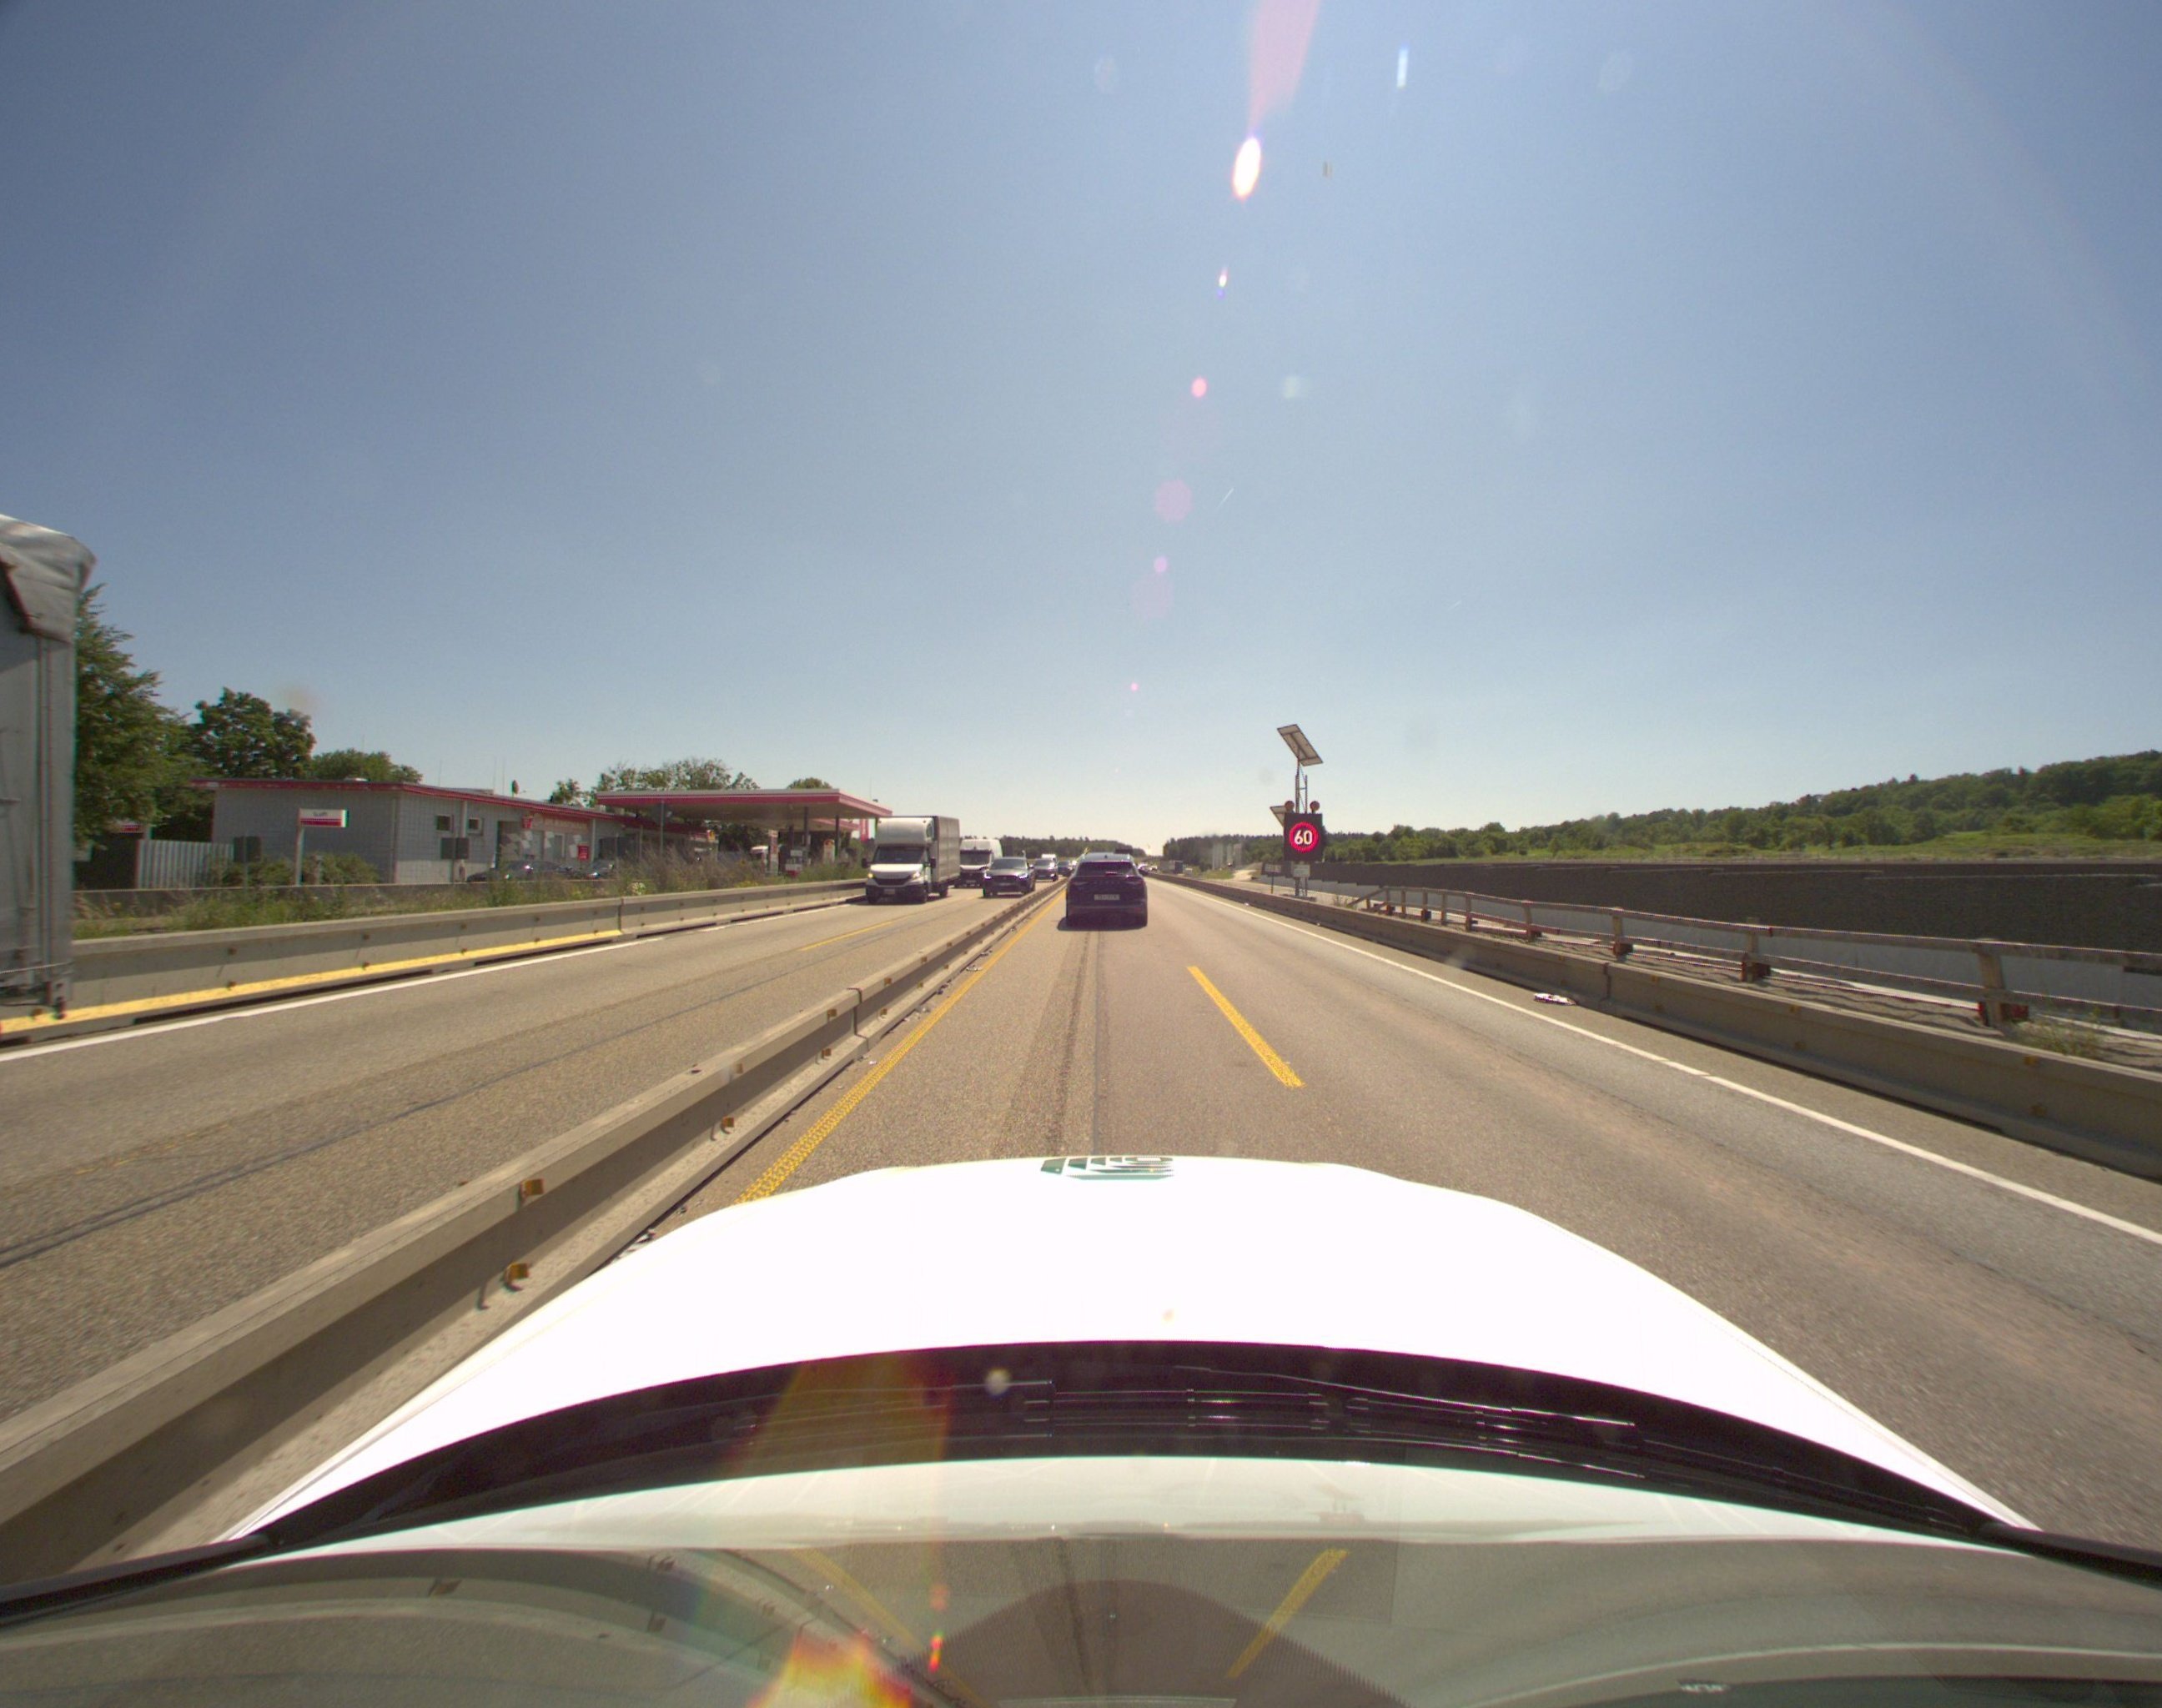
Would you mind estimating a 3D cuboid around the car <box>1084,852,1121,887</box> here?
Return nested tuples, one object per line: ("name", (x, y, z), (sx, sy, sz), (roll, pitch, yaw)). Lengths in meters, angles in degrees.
("car", (1.194, 0.858, 46.366), (1.987, 1.844, 3.999), (2, -1, 0))

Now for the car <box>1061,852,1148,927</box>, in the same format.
("car", (0.572, 0.761, 19.271), (1.835, 1.582, 4.002), (0, 0, 2))

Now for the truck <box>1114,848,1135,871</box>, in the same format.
("truck", (5.552, 0.696, 105.555), (2.662, 2.945, 5.623), (0, 0, 2))

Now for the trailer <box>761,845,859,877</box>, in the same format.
("trailer", (-36.002, 0.987, 109.085), (3.120, 4.111, 14.248), (-1, -1, 28))

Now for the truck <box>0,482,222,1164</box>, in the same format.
("truck", (-6.617, -0.156, 1.193), (2.381, 3.384, 7.716), (0, 0, 1))

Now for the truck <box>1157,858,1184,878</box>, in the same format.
("truck", (21.776, 3.458, 197.438), (3.446, 4.220, 10.429), (5, -1, 22))

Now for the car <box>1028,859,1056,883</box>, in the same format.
("car", (-2.727, 1.144, 57.535), (1.934, 1.611, 3.997), (0, 0, -2))

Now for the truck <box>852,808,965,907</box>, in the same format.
("truck", (-6.345, 0.117, 31.304), (2.486, 3.292, 8.118), (0, 0, 1))

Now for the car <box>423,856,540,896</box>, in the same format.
("car", (-24.283, 0.845, 33.180), (1.640, 1.355, 4.001), (4, 1, 1))

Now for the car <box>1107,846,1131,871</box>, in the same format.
("car", (6.859, 0.817, 145.800), (3.418, 4.101, 9.214), (4, -1, 7))

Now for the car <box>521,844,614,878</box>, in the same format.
("car", (-26.664, 0.377, 42.517), (1.745, 1.411, 4.318), (10, 0, 3))

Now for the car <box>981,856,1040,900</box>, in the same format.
("car", (-2.876, 0.949, 34.259), (1.935, 1.658, 4.746), (-1, 0, 1))

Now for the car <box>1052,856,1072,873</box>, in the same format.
("car", (-1.890, 1.065, 82.745), (1.838, 1.641, 4.001), (0, 0, 1))

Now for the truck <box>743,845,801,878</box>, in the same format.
("truck", (-39.071, 0.994, 103.234), (3.120, 3.985, 6.385), (-1, -1, 28))

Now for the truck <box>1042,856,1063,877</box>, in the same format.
("truck", (-3.887, 1.763, 112.205), (2.471, 2.824, 8.130), (0, -1, 1))

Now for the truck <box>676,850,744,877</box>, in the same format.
("truck", (-43.037, 1.141, 94.728), (2.794, 3.064, 7.160), (-1, -1, 23))

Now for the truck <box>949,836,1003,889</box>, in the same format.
("truck", (-5.838, 0.480, 46.201), (2.232, 2.786, 6.491), (0, 0, 0))
